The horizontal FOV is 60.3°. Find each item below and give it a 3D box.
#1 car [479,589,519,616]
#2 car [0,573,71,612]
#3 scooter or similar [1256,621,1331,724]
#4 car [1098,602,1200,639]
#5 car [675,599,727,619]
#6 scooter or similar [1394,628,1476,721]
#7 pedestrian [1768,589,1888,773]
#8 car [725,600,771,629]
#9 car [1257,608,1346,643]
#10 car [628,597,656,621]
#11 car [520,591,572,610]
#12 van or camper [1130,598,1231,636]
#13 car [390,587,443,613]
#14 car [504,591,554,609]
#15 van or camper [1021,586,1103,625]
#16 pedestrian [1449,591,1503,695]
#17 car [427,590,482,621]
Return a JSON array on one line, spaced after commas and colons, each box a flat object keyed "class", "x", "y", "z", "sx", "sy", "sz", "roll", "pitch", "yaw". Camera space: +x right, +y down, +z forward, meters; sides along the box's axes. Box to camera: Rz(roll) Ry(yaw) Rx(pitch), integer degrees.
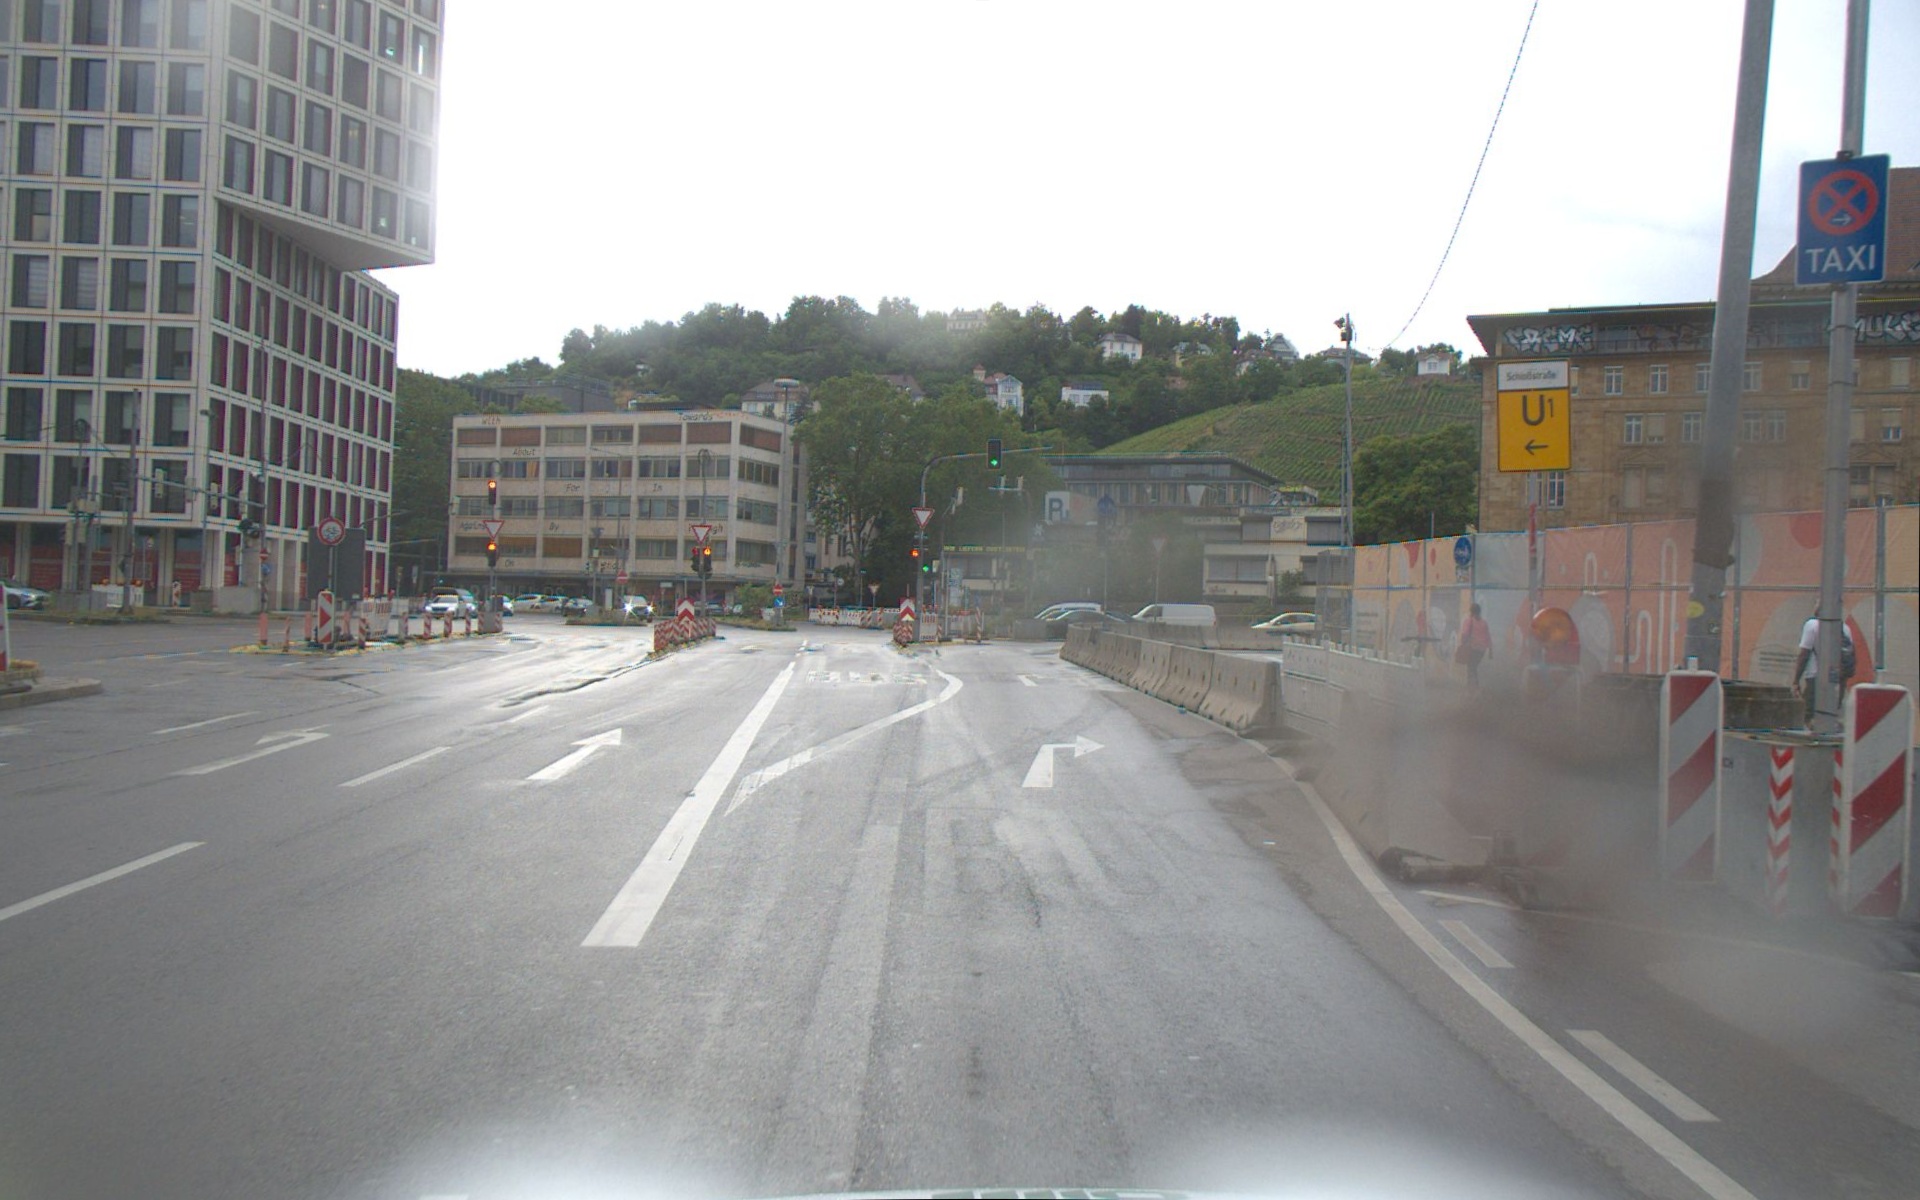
[{"class": "car", "x": -34.052, "y": 0.162, "z": 122.169, "sx": 1.782, "sy": 1.847, "sz": 3.957, "roll": 2, "pitch": 0, "yaw": -32}, {"class": "car", "x": -42.148, "y": -0.362, "z": 73.189, "sx": 4.550, "sy": 1.626, "sz": 2.019, "roll": 1, "pitch": 0, "yaw": 5}, {"class": "scooter or similar", "x": 4.242, "y": 0.900, "z": 21.155, "sx": 0.660, "sy": 1.236, "sz": 1.572, "roll": 2, "pitch": 0, "yaw": 2}, {"class": "car", "x": 9.036, "y": 0.990, "z": 79.262, "sx": 4.557, "sy": 1.626, "sz": 2.016, "roll": 1, "pitch": 0, "yaw": -5}, {"class": "car", "x": -20.804, "y": 0.733, "z": 132.906, "sx": 3.992, "sy": 1.518, "sz": 1.731, "roll": 2, "pitch": 0, "yaw": 33}, {"class": "scooter or similar", "x": 6.596, "y": 1.019, "z": 22.999, "sx": 0.459, "sy": 1.204, "sz": 1.411, "roll": 2, "pitch": 0, "yaw": -12}, {"class": "pedestrian", "x": 9.277, "y": 0.839, "z": 17.708, "sx": 0.689, "sy": 1.899, "sz": 0.989, "roll": 1, "pitch": 0, "yaw": -3}, {"class": "car", "x": -15.753, "y": 1.066, "z": 122.653, "sx": 1.973, "sy": 2.049, "sz": 3.958, "roll": 2, "pitch": 0, "yaw": -31}, {"class": "car", "x": 17.951, "y": 1.341, "z": 86.937, "sx": 4.276, "sy": 1.703, "sz": 1.848, "roll": 1, "pitch": 0, "yaw": 0}, {"class": "car", "x": -21.580, "y": 0.598, "z": 112.248, "sx": 1.798, "sy": 1.512, "sz": 3.988, "roll": 1, "pitch": 0, "yaw": -12}, {"class": "car", "x": -35.014, "y": 0.069, "z": 139.930, "sx": 3.982, "sy": 1.518, "sz": 1.735, "roll": 2, "pitch": 0, "yaw": 23}, {"class": "van or camper", "x": 11.979, "y": 0.936, "z": 90.035, "sx": 5.094, "sy": 1.927, "sz": 1.886, "roll": 1, "pitch": 0, "yaw": -5}, {"class": "car", "x": -40.702, "y": 0.002, "z": 123.886, "sx": 3.921, "sy": 1.847, "sz": 1.798, "roll": 2, "pitch": 0, "yaw": 36}, {"class": "car", "x": -37.975, "y": -0.018, "z": 145.831, "sx": 3.982, "sy": 1.518, "sz": 1.735, "roll": 2, "pitch": 0, "yaw": 23}, {"class": "van or camper", "x": 5.516, "y": 0.302, "z": 89.892, "sx": 4.159, "sy": 2.013, "sz": 1.849, "roll": 1, "pitch": 0, "yaw": -5}, {"class": "pedestrian", "x": 9.591, "y": 0.794, "z": 30.767, "sx": 0.705, "sy": 1.899, "sz": 0.708, "roll": 2, "pitch": 0, "yaw": -5}, {"class": "car", "x": -30.968, "y": 0.340, "z": 101.428, "sx": 2.178, "sy": 1.784, "sz": 4.808, "roll": 1, "pitch": -1, "yaw": -4}]
